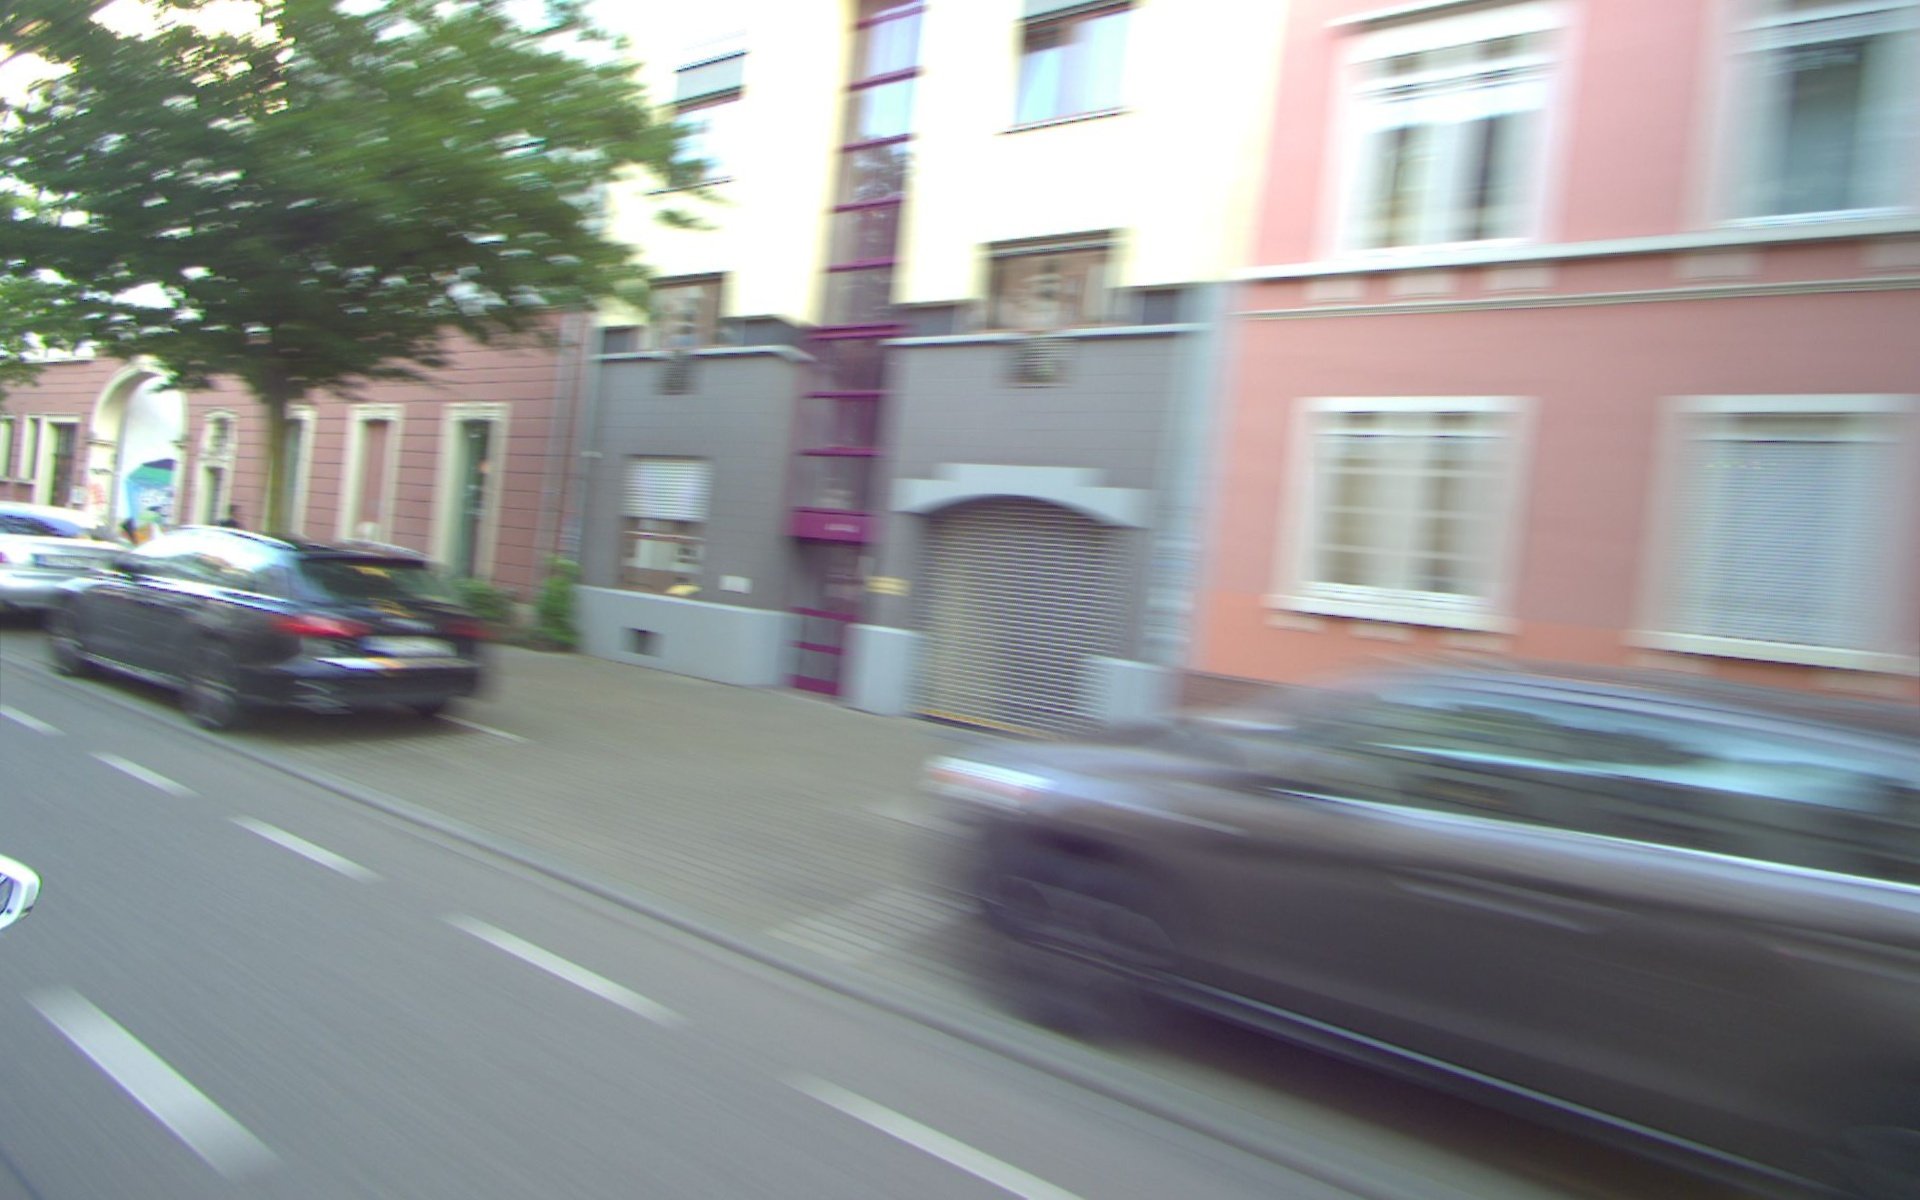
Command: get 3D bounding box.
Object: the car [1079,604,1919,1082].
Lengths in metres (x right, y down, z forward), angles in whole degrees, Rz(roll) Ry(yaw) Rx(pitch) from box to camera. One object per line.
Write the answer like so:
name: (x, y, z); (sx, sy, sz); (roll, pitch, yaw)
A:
car: (2.971, 1.086, 5.930); (3.953, 1.603, 1.882); (7, 0, 31)

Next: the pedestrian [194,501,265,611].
pedestrian: (-12.851, -0.767, 17.709); (0.590, 1.838, 0.681); (7, 0, 32)

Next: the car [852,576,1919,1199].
car: (1.891, 0.960, 3.809); (4.191, 1.639, 1.880); (7, 2, 31)

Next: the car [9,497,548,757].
car: (-6.062, 0.110, 8.752); (4.953, 1.507, 1.995); (7, 0, 32)

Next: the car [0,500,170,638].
car: (-11.736, -0.504, 12.454); (4.617, 1.399, 1.780); (7, 1, 35)
